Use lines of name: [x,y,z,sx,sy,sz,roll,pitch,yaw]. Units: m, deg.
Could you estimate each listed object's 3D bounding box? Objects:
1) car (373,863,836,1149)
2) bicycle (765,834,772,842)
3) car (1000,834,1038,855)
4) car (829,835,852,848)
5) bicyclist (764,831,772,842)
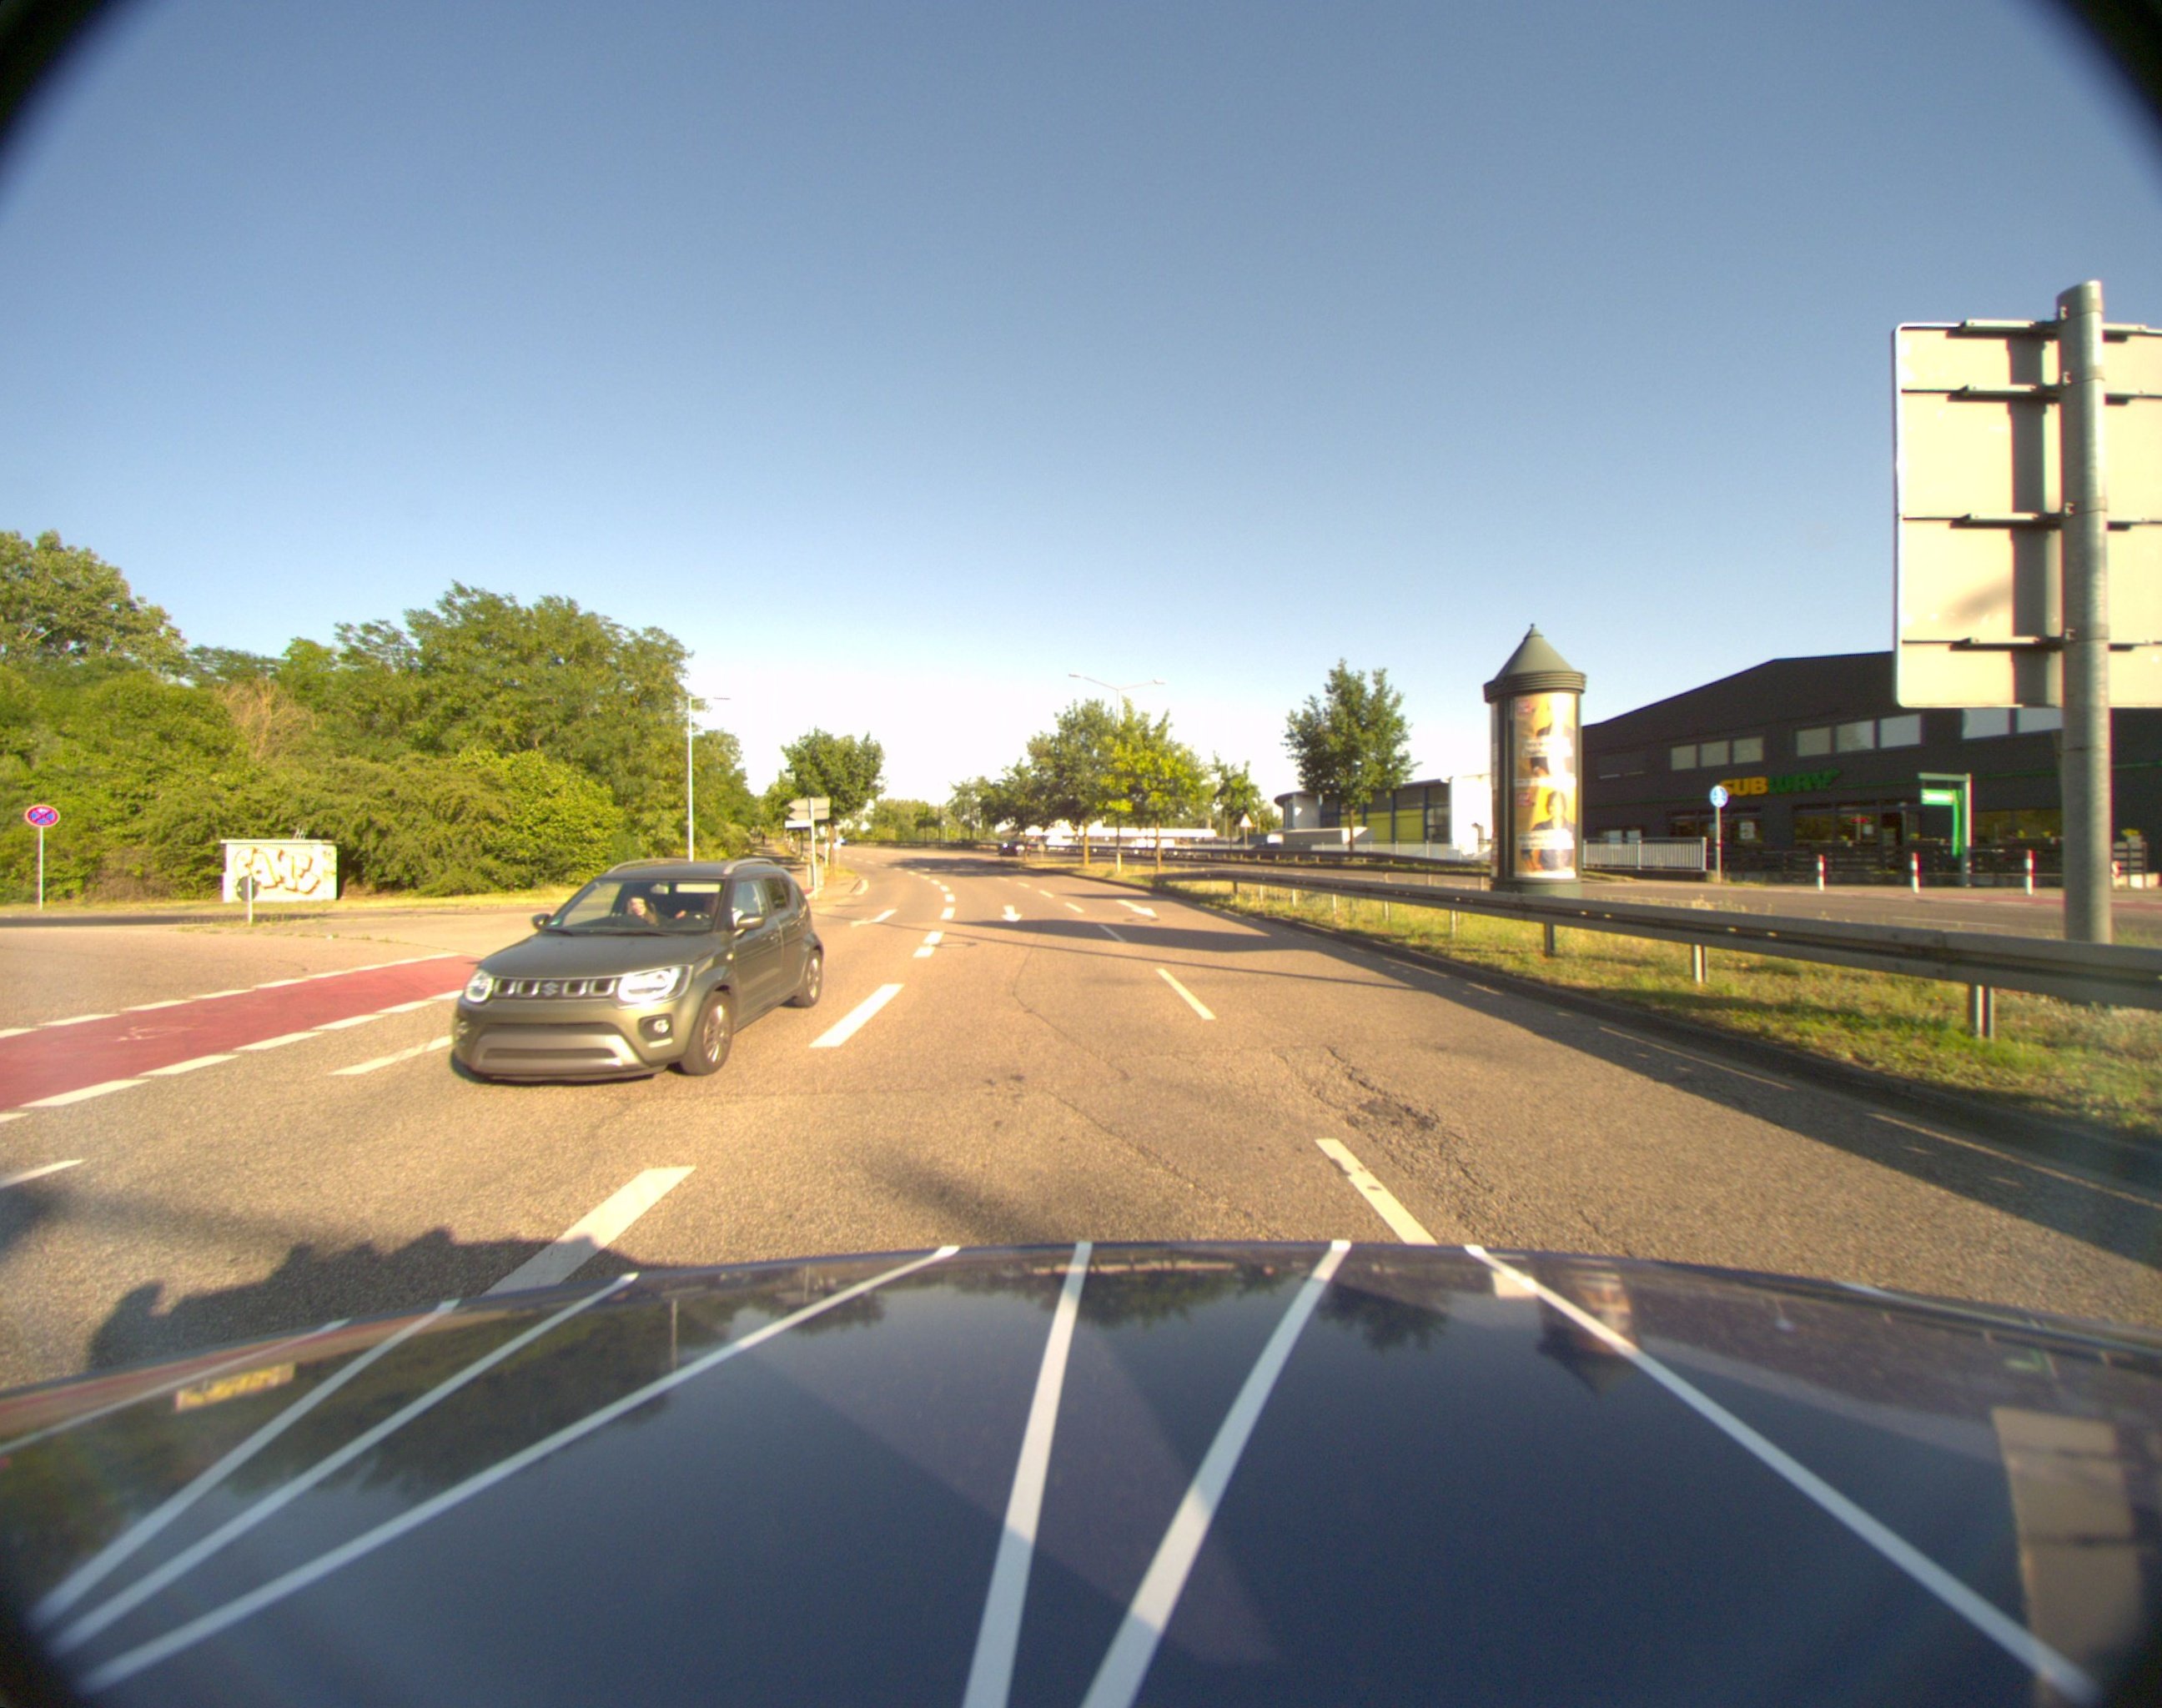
car: [-3.616,0.968,6.788,1.742,1.621,4.060,-2,1,-4]
bicycle: [-43.700,-2.249,106.182,0.783,1.051,2.492,-3,1,-21]
car: [-5.750,-0.851,70.143,2.003,1.761,3.991,-3,1,-30]
car: [-37.122,-1.945,117.302,2.003,1.762,3.989,-3,1,-37]
bicyclist: [-43.704,-2.429,106.132,0.844,1.413,1.112,-3,1,-20]
